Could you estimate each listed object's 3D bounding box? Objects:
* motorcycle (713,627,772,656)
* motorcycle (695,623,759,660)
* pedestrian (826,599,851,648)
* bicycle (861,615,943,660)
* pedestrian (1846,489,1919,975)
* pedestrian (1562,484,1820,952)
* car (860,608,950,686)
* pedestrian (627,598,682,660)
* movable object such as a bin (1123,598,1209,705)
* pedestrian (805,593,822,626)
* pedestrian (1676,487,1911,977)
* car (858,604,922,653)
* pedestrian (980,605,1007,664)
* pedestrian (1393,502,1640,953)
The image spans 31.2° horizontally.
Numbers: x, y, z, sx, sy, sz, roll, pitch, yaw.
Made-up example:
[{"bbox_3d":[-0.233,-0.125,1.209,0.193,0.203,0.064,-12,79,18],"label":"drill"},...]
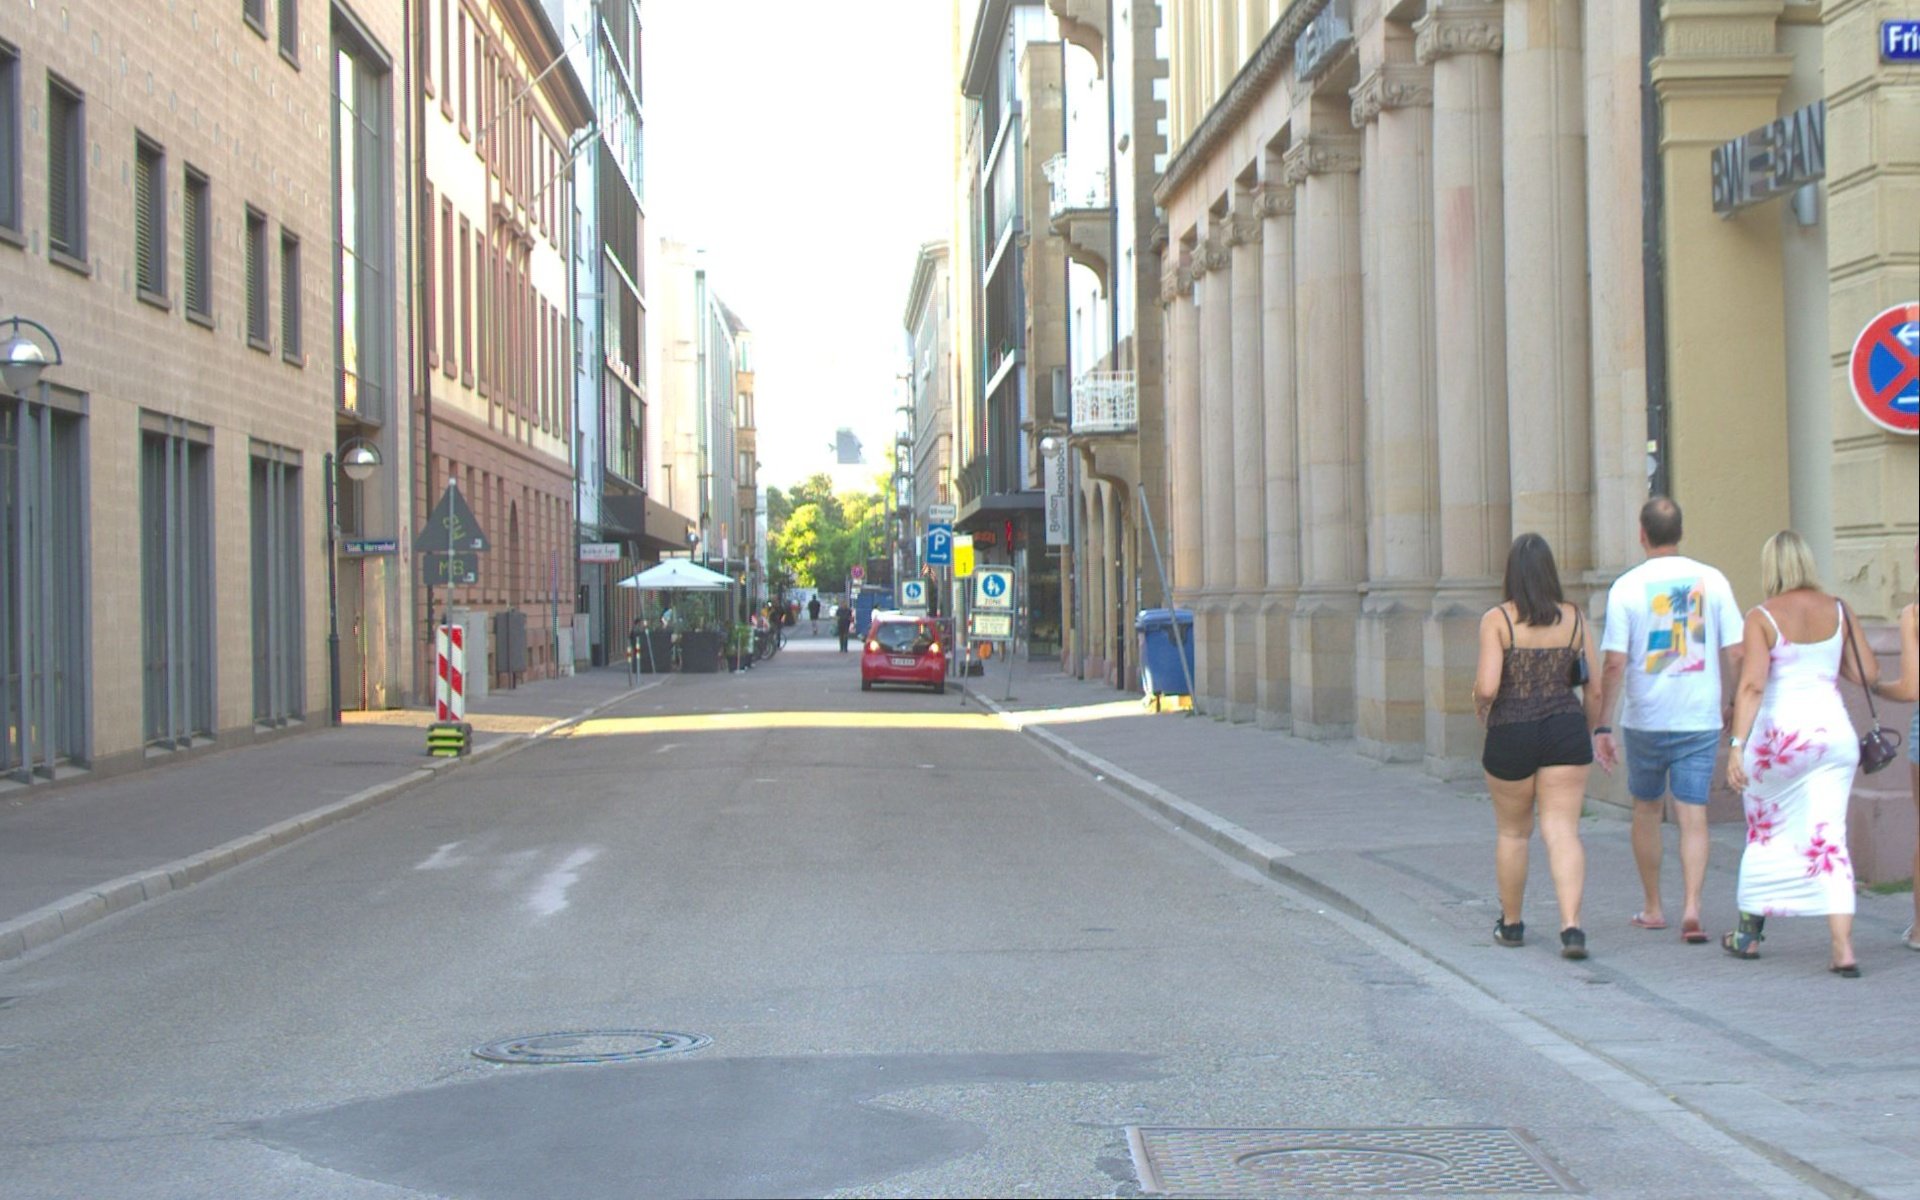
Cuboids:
[{"bbox_3d":[-6.738,1.276,106.485,1.801,0.872,0.560,0,0,-6],"label":"motorcycle"},{"bbox_3d":[-6.656,1.185,98.309,1.801,1.037,0.494,0,0,-6],"label":"motorcycle"},{"bbox_3d":[-4.278,0.825,120.937,0.865,1.707,0.852,0,0,-2],"label":"pedestrian"},{"bbox_3d":[-1.493,0.965,88.606,2.052,1.130,0.649,0,0,-5],"label":"bicycle"},{"bbox_3d":[3.827,0.483,13.091,0.636,1.797,0.772,-1,0,-3],"label":"pedestrian"},{"bbox_3d":[3.029,0.477,14.316,0.812,1.869,0.875,-1,0,-3],"label":"pedestrian"},{"bbox_3d":[-1.084,0.897,66.757,1.649,1.422,3.535,2,0,-1],"label":"car"},{"bbox_3d":[-7.316,0.696,82.423,1.290,1.482,0.661,0,0,-4],"label":"pedestrian"},{"bbox_3d":[2.742,0.679,45.971,0.990,1.387,1.241,-1,0,-3],"label":"movable object such as a bin"},{"bbox_3d":[-7.481,0.474,175.910,0.804,1.667,0.888,-1,0,0],"label":"pedestrian"},{"bbox_3d":[3.165,0.488,13.107,0.636,1.797,0.772,-1,0,-3],"label":"pedestrian"},{"bbox_3d":[-2.369,0.940,116.072,1.993,1.605,4.000,0,0,-3],"label":"car"},{"bbox_3d":[0.850,0.875,87.108,0.656,1.482,0.493,-1,0,0],"label":"pedestrian"},{"bbox_3d":[2.226,0.496,13.851,0.775,1.740,0.875,-1,0,-3],"label":"pedestrian"}]
